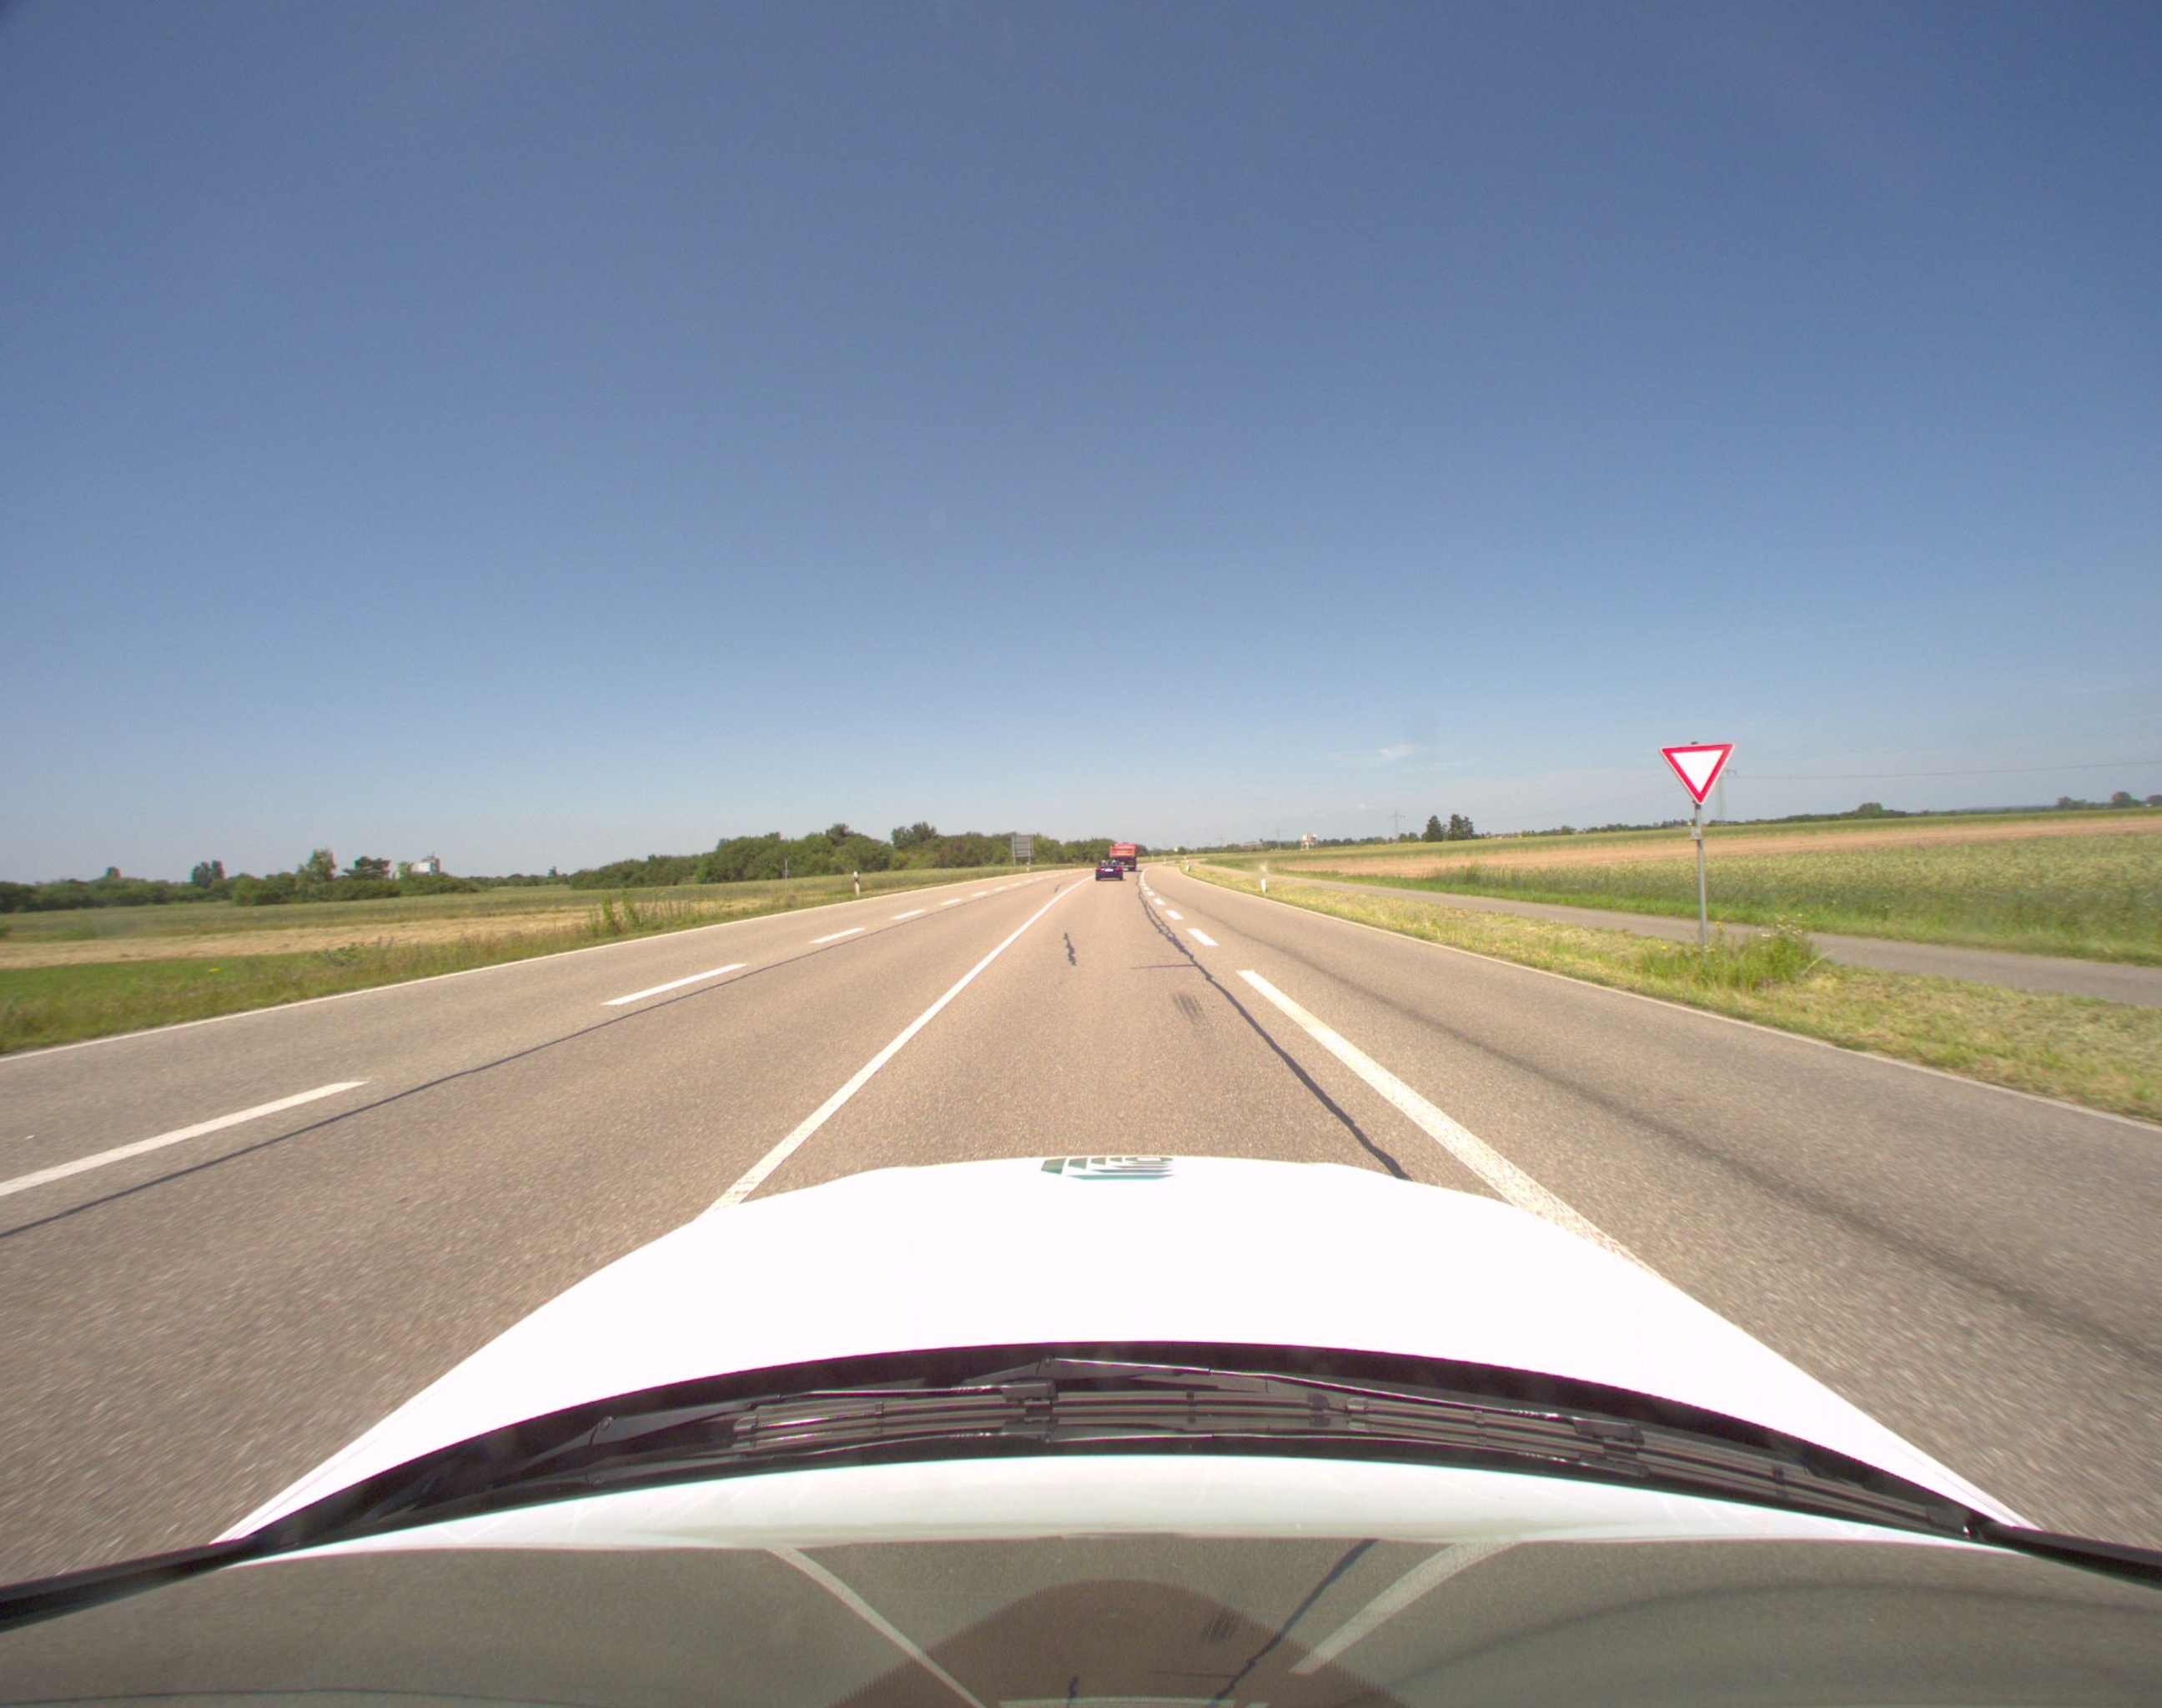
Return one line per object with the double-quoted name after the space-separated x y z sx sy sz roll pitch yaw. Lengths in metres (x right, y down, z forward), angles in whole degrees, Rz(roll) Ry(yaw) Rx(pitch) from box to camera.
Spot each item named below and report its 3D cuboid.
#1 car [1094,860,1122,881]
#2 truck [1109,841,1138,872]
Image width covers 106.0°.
1.781 1.057 52.835 1.737 1.280 4.002 -1 0 2 "car"
4.655 0.306 87.777 2.925 3.089 7.204 -1 -1 4 "truck"
